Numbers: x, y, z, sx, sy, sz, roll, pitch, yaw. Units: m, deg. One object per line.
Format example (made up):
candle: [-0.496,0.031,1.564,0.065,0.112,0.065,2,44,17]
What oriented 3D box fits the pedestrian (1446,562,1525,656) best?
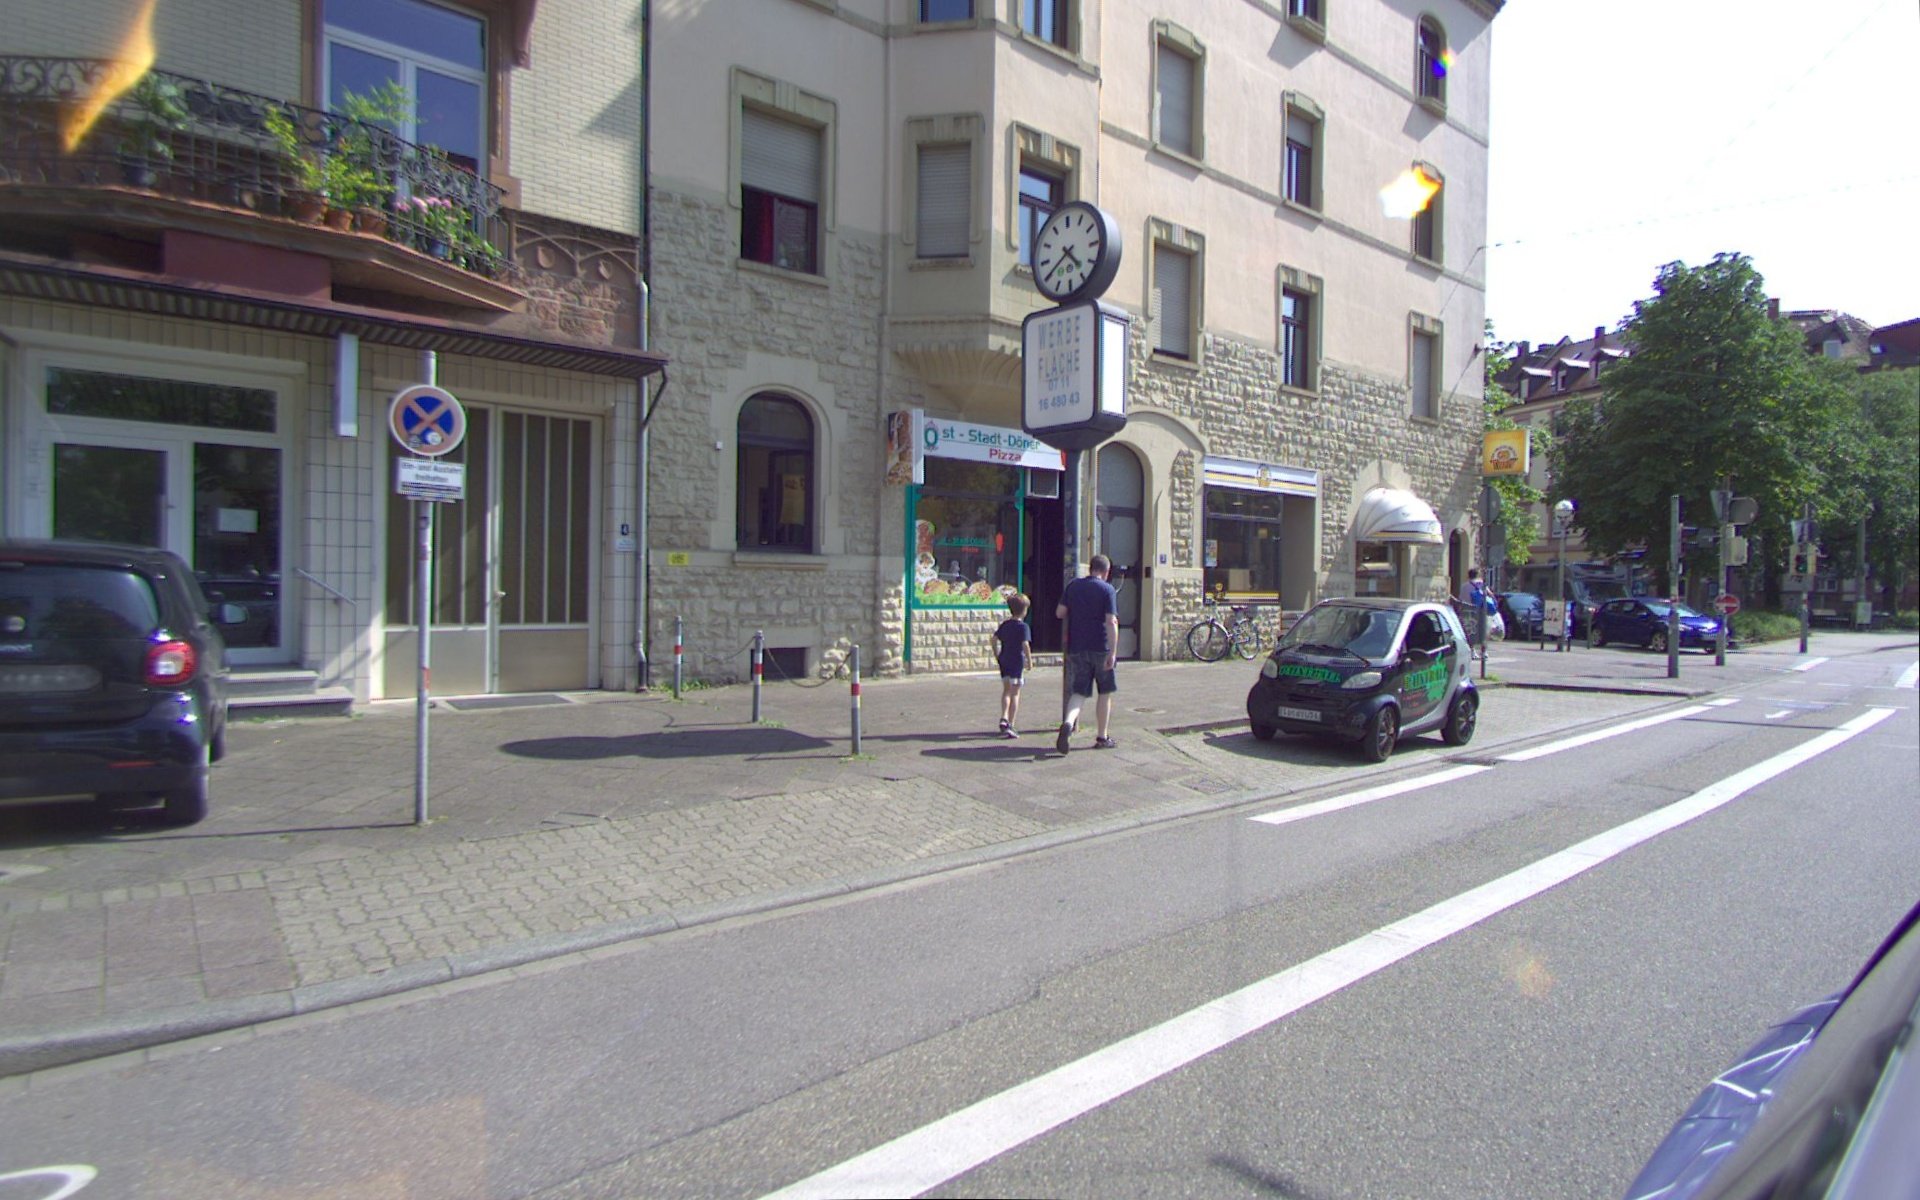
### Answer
pedestrian: [10.649,0.175,20.520,0.834,1.789,1.014,1,4,-37]

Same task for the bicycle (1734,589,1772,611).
bicycle: [41.562,0.026,53.060,0.512,1.129,1.668,-1,0,-10]

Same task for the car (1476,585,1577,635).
car: [19.305,0.311,34.685,1.700,1.574,4.101,-2,0,10]

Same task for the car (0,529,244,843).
car: [-5.707,0.339,6.362,1.934,1.542,3.414,0,3,-35]

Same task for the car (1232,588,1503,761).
car: [4.389,0.686,10.800,2.744,1.517,1.517,0,3,-40]

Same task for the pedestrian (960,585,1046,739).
pedestrian: [0.396,0.554,9.432,0.570,1.341,0.435,8,6,44]

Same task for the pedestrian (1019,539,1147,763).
pedestrian: [1.099,0.417,9.035,0.659,1.864,0.859,5,4,44]

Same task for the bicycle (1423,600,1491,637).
bicycle: [16.374,0.611,33.348,1.934,1.155,0.588,1,-1,-3]

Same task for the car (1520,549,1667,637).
car: [22.576,-0.245,36.468,2.356,2.829,6.648,1,0,13]

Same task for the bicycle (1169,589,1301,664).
bicycle: [4.778,0.416,17.457,2.704,1.192,0.806,-1,-1,-41]

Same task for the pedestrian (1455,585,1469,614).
pedestrian: [29.646,-0.020,59.797,0.524,1.722,0.560,0,-1,-39]

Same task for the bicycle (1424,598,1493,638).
bicycle: [16.052,0.578,32.597,1.934,1.225,0.588,1,-1,-3]

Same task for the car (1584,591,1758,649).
car: [19.634,0.505,28.177,1.855,1.436,4.003,1,1,-3]
